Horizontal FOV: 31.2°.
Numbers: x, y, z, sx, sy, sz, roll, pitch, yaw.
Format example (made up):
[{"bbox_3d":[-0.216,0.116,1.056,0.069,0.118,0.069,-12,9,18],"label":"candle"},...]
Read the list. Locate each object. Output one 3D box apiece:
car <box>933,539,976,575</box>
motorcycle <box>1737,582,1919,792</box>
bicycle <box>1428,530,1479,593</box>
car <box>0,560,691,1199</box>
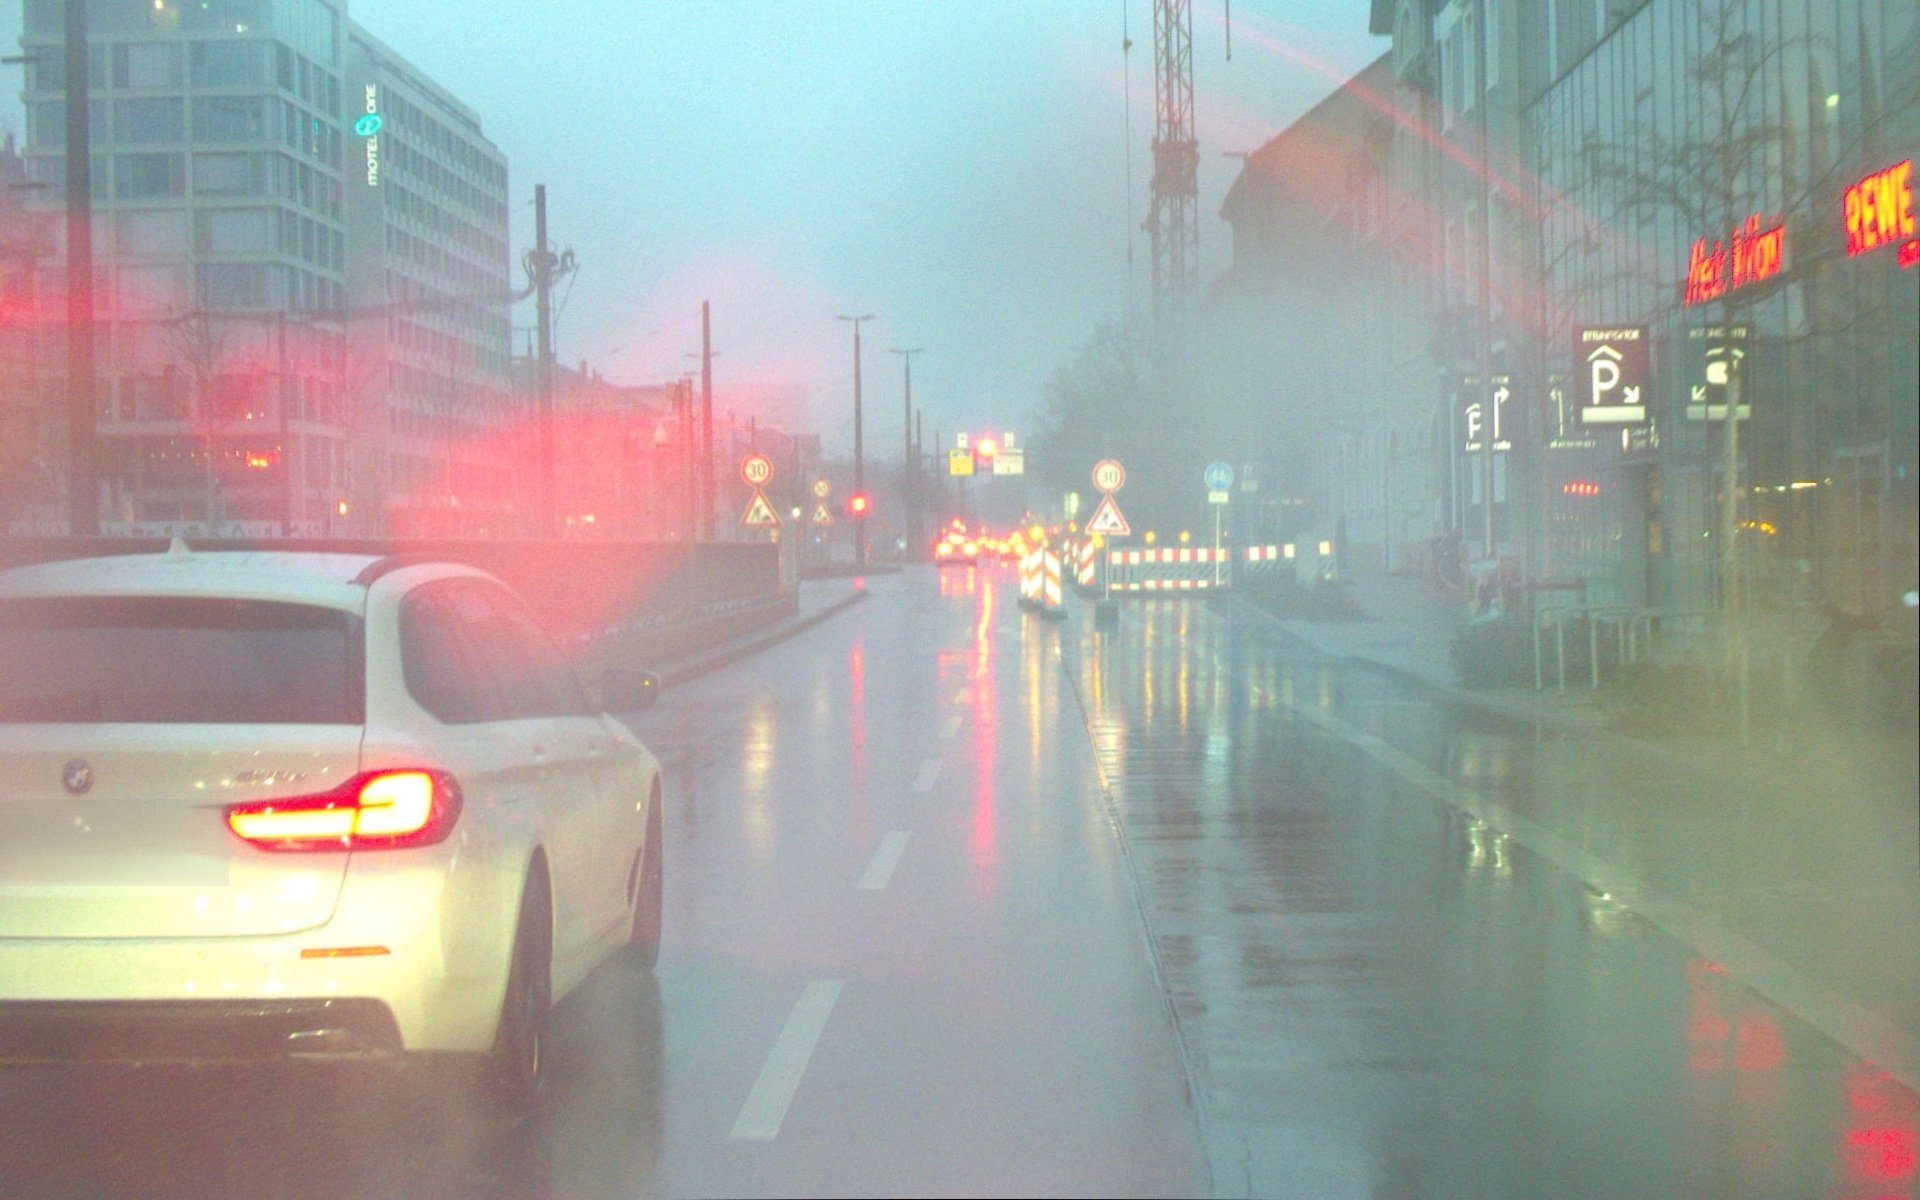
[{"bbox_3d":[-0.243,-2.010,158.417,1.901,1.636,4.000,0,1,1],"label":"car"},{"bbox_3d":[6.015,0.549,22.139,1.908,1.329,0.594,-1,0,42],"label":"motorcycle"},{"bbox_3d":[9.914,-0.771,69.107,0.682,1.218,1.905,-3,1,0],"label":"bicycle"},{"bbox_3d":[-1.943,0.630,10.146,1.852,1.460,4.947,0,1,1],"label":"car"}]
